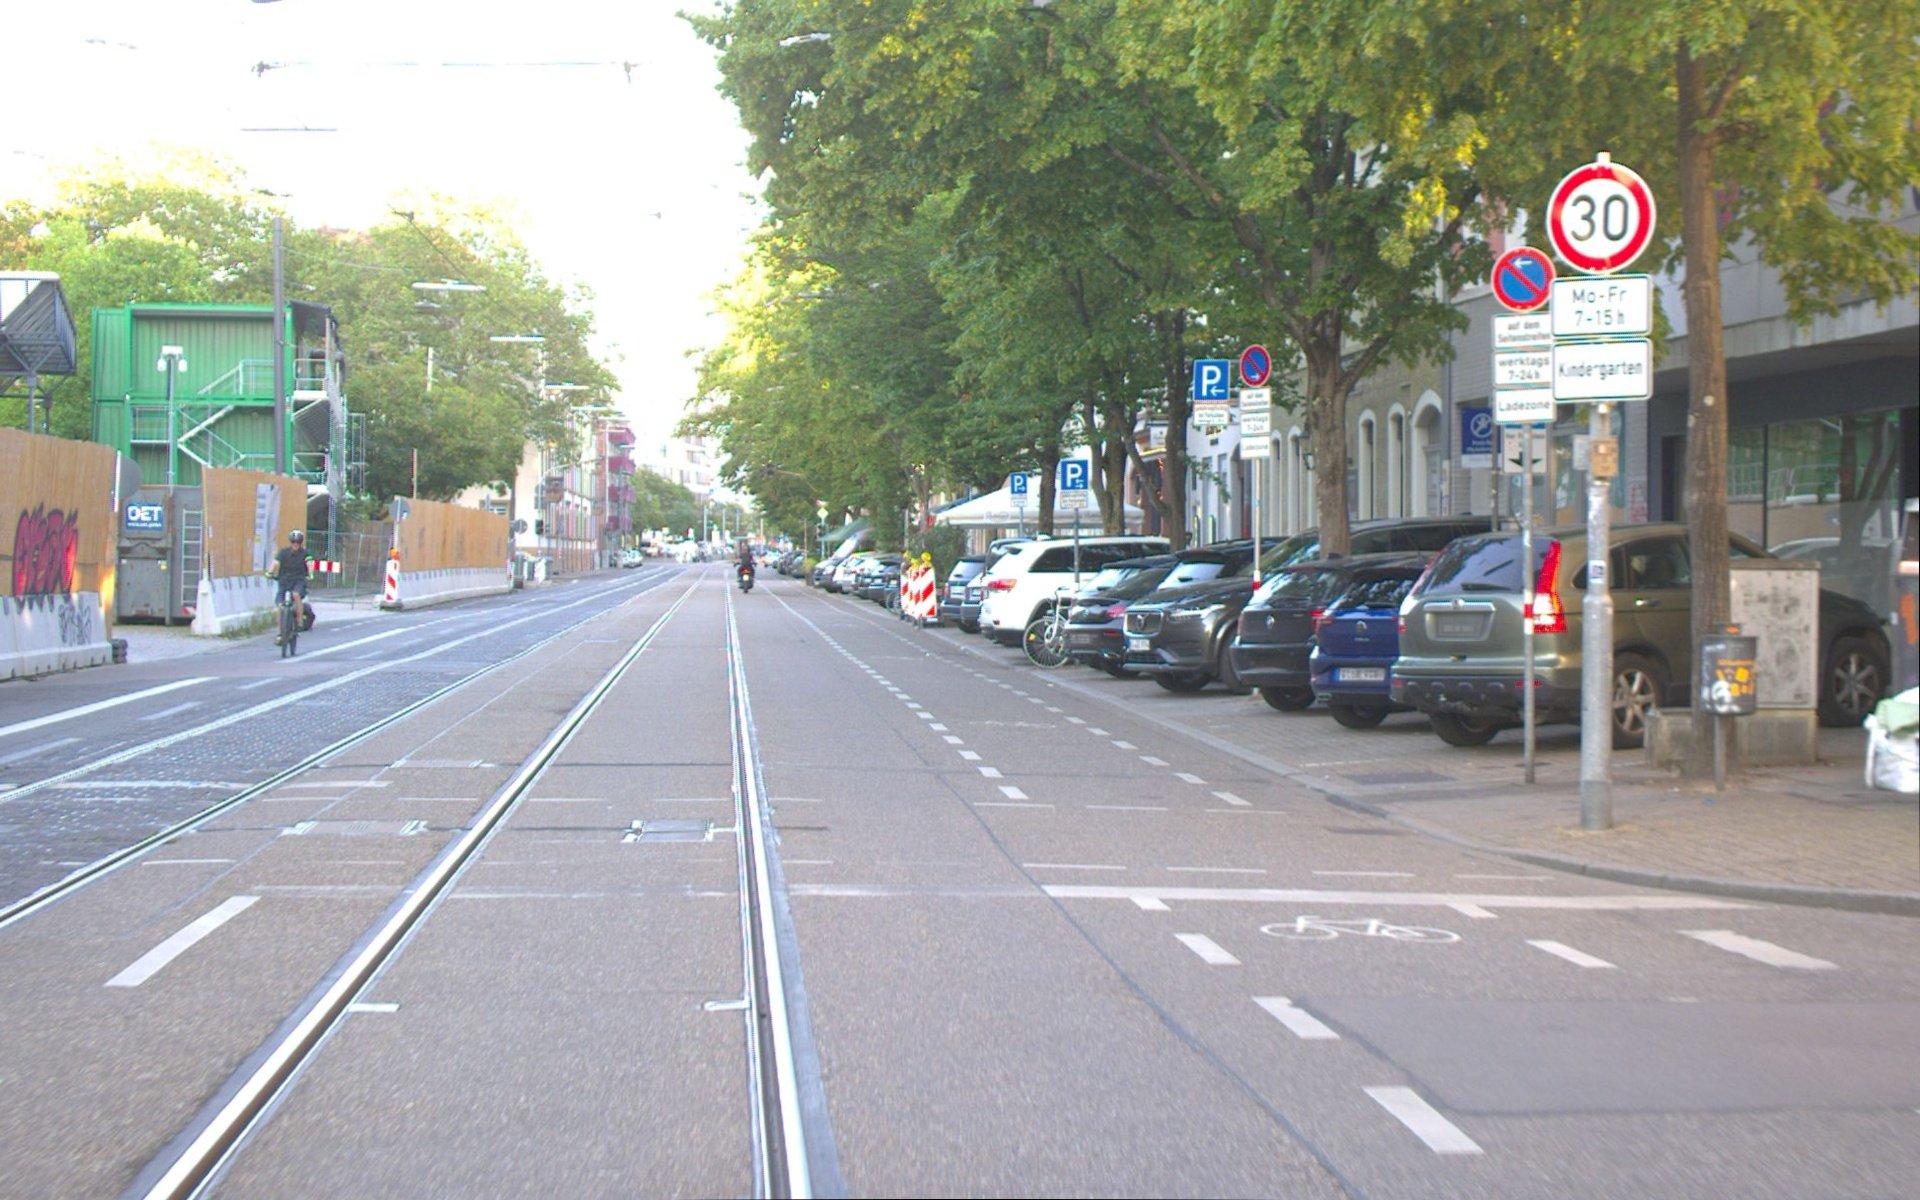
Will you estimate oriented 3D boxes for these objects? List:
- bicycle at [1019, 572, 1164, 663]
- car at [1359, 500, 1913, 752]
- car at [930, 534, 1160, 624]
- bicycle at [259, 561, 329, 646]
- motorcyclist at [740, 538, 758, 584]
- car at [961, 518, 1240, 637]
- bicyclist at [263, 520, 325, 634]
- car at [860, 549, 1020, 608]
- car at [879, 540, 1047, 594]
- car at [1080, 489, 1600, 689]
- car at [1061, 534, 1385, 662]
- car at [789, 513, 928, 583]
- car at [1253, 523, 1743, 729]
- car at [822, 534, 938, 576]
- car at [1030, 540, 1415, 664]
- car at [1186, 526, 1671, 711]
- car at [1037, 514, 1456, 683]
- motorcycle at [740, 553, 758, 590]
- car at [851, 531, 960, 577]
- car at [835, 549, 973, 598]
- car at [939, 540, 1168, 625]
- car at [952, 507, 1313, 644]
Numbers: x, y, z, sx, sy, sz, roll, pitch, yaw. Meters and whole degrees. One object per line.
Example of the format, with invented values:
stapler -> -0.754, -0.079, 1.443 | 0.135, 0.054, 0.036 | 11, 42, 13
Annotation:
bicycle -> 1.756, 0.228, 45.951 | 1.835, 1.099, 0.498 | -3, 2, -17
car -> 5.237, 0.159, 26.407 | 4.156, 1.658, 1.842 | -4, 2, -38
car -> 1.605, -0.406, 64.714 | 3.961, 1.548, 1.706 | -2, 1, -29
bicycle -> -9.794, 0.039, 50.610 | 0.768, 1.224, 1.936 | 0, 1, -4
motorcyclist -> -7.849, -1.454, 127.945 | 0.645, 1.691, 1.026 | 0, 0, -5
car -> 2.329, -0.385, 56.695 | 4.147, 1.800, 2.008 | -2, 1, -32
bicyclist -> -9.785, -0.343, 50.555 | 0.768, 1.660, 1.018 | 0, 1, -4
car -> -0.569, -0.624, 97.719 | 4.115, 1.465, 1.824 | -3, 1, -22
car -> 0.078, -0.892, 92.645 | 4.160, 1.421, 1.824 | 0, 1, -23
car -> 4.024, -0.144, 36.491 | 4.963, 1.820, 2.209 | -3, 1, -22
car -> 3.384, -0.042, 44.094 | 3.747, 1.421, 1.727 | -3, 1, -28
car -> -4.034, -2.080, 137.015 | 5.094, 2.633, 2.022 | -2, 0, -20
car -> 4.613, 0.187, 29.326 | 3.882, 1.497, 1.813 | -4, 2, -34
car -> -3.080, -1.734, 132.419 | 3.950, 1.481, 1.921 | -2, 0, -27
car -> 3.178, -0.001, 41.544 | 4.211, 1.422, 1.976 | 0, 1, -26
car -> 4.422, 0.145, 32.302 | 4.154, 1.460, 1.971 | -3, 1, -31
car -> 3.226, -0.041, 38.784 | 4.211, 1.643, 1.976 | -3, 1, -22
motorcycle -> -7.840, -1.061, 127.813 | 0.645, 1.364, 1.812 | 0, 0, -5
car -> -2.046, -1.709, 128.681 | 3.950, 1.614, 1.921 | -2, 0, -3
car -> -1.878, -0.882, 115.242 | 4.249, 1.543, 2.020 | -1, 1, -14
car -> 1.695, -0.322, 62.196 | 3.772, 1.403, 1.706 | -2, 1, -29
car -> 2.375, -0.362, 48.016 | 4.647, 1.682, 2.008 | -3, 1, -9
